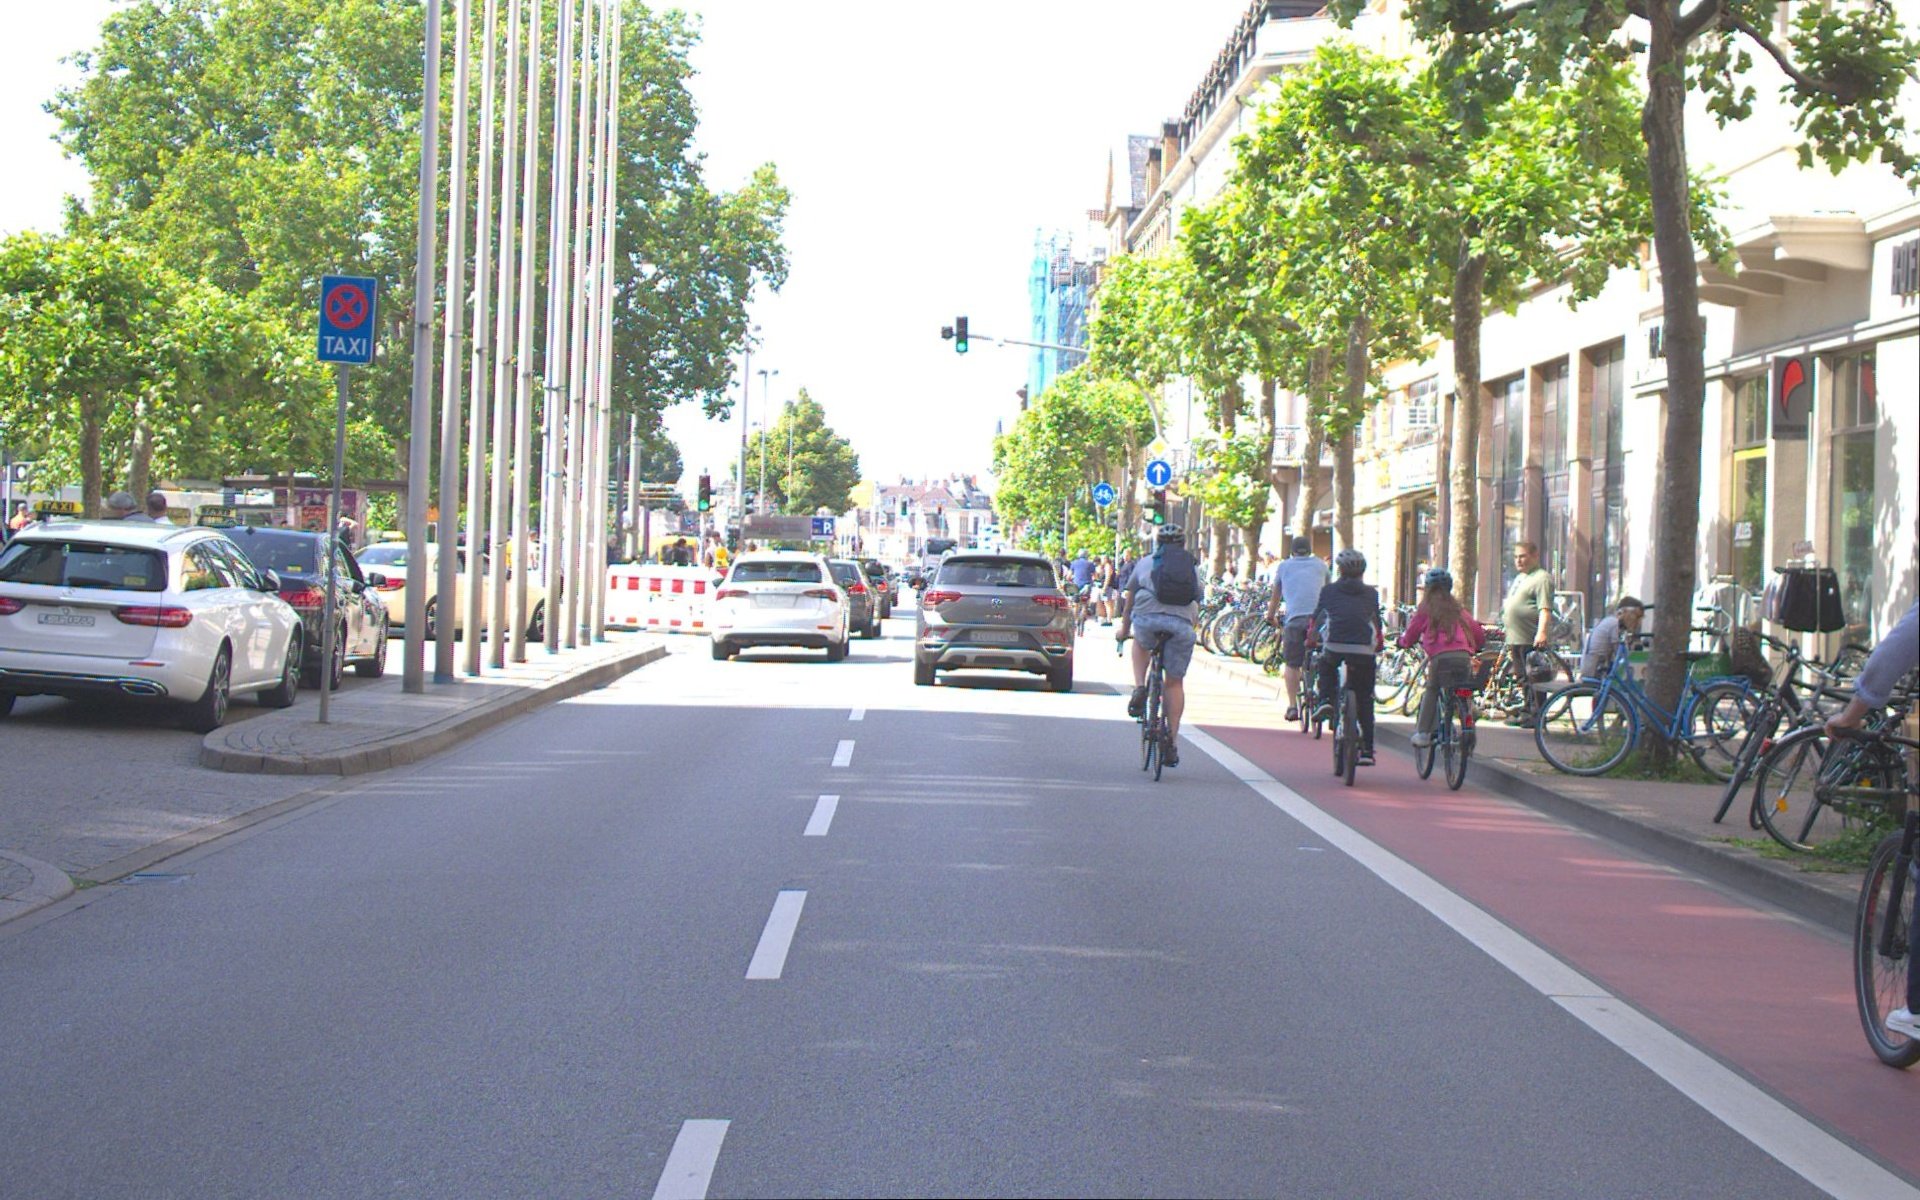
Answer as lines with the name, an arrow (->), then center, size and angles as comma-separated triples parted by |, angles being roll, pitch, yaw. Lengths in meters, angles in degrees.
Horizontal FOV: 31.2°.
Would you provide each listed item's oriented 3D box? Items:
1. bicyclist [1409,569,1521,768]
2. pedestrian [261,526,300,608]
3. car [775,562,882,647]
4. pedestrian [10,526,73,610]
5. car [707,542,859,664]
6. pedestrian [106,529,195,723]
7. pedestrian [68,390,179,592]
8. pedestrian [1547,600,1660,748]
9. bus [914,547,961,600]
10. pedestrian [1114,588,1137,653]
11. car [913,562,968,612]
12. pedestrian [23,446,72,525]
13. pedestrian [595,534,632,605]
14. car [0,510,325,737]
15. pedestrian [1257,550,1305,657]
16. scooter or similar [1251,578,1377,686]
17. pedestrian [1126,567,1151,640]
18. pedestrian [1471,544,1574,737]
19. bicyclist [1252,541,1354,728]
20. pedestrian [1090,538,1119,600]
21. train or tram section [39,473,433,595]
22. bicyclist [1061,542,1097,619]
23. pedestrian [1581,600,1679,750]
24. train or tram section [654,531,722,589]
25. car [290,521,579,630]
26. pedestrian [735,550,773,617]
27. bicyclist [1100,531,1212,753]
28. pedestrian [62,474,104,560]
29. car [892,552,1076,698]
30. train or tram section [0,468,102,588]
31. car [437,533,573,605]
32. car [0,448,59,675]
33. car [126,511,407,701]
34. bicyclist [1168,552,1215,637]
bicyclist -> 3.538, 0.478, 24.114 | 0.600, 1.353, 0.721 | 2, -1, -4
pedestrian -> -14.645, -0.705, 74.111 | 0.584, 1.716, 0.789 | 2, -3, 1
car -> -2.335, 0.060, 61.840 | 1.845, 1.444, 4.000 | 1, 1, -1
pedestrian -> -15.564, -0.538, 58.256 | 0.671, 1.376, 0.897 | 3, 0, 8
car -> -2.354, 0.011, 46.595 | 1.845, 1.554, 4.000 | 1, 1, 0
pedestrian -> -7.573, 0.243, 32.161 | 0.532, 1.786, 0.538 | 2, 1, 39
pedestrian -> -7.561, -0.984, 31.087 | 0.619, 1.786, 0.691 | 2, 1, 39
pedestrian -> 5.557, 0.636, 29.715 | 0.787, 1.239, 0.576 | 3, -1, -3
bus -> -1.623, -1.852, 244.635 | 2.994, 3.582, 11.745 | 2, 0, -1
pedestrian -> 3.850, 0.481, 80.148 | 0.523, 1.516, 0.641 | 1, 0, 3
car -> -0.741, -0.492, 126.232 | 1.845, 1.662, 4.000 | 3, 1, -2
pedestrian -> -20.637, -2.586, 77.747 | 0.605, 1.743, 0.802 | 1, -1, 31
pedestrian -> -8.925, -0.791, 88.566 | 0.633, 1.804, 0.730 | 2, 0, 21
car -> -6.251, 0.116, 26.539 | 1.799, 1.518, 4.739 | 3, 1, -1
pedestrian -> 4.929, 0.049, 52.884 | 0.615, 1.607, 0.745 | 2, 0, 1
scooter or similar -> 4.482, 0.402, 43.508 | 1.475, 1.270, 0.669 | 3, 0, 11
pedestrian -> 4.038, 0.077, 77.736 | 0.549, 1.625, 0.589 | 1, 0, 3
pedestrian -> 5.138, 0.359, 31.445 | 0.639, 1.683, 0.843 | 4, 1, -3
bicyclist -> 3.052, 0.298, 30.636 | 0.774, 1.629, 0.851 | 1, 1, 0
pedestrian -> 3.590, -0.772, 85.370 | 0.610, 1.510, 0.678 | -2, 0, -2
train or tram section -> -24.411, -2.158, 117.417 | 2.618, 3.664, 15.516 | 2, 1, 35
bicyclist -> 2.420, -0.399, 70.071 | 0.647, 1.545, 0.817 | 2, 0, -1
pedestrian -> 5.675, 0.629, 29.122 | 0.639, 1.228, 0.597 | 3, -1, -3
train or tram section -> -16.432, -2.427, 208.325 | 2.613, 3.337, 11.001 | 2, 1, 3
car -> -8.013, -0.370, 52.881 | 1.894, 1.536, 4.854 | 3, 1, 27
pedestrian -> -4.952, -0.397, 82.723 | 0.633, 1.590, 0.686 | 2, 0, 21
bicyclist -> 1.343, 0.280, 23.766 | 0.630, 1.476, 1.198 | 2, 0, -1
pedestrian -> -18.127, -1.722, 71.051 | 0.576, 1.733, 0.606 | 3, 0, 5
car -> 0.219, 0.241, 39.260 | 1.845, 1.554, 4.001 | 1, 1, -3
train or tram section -> -31.852, -2.345, 106.712 | 2.618, 3.664, 10.979 | 2, 1, 35
car -> -13.161, -0.875, 99.728 | 1.861, 1.948, 4.756 | 2, 0, 20
car -> -9.405, -0.364, 29.992 | 1.832, 2.007, 4.685 | 2, 1, 0
car -> -6.425, 0.019, 32.336 | 1.761, 1.594, 4.710 | 2, 1, -2
bicyclist -> 4.899, -0.125, 72.873 | 0.573, 1.791, 0.857 | -1, 1, -35
